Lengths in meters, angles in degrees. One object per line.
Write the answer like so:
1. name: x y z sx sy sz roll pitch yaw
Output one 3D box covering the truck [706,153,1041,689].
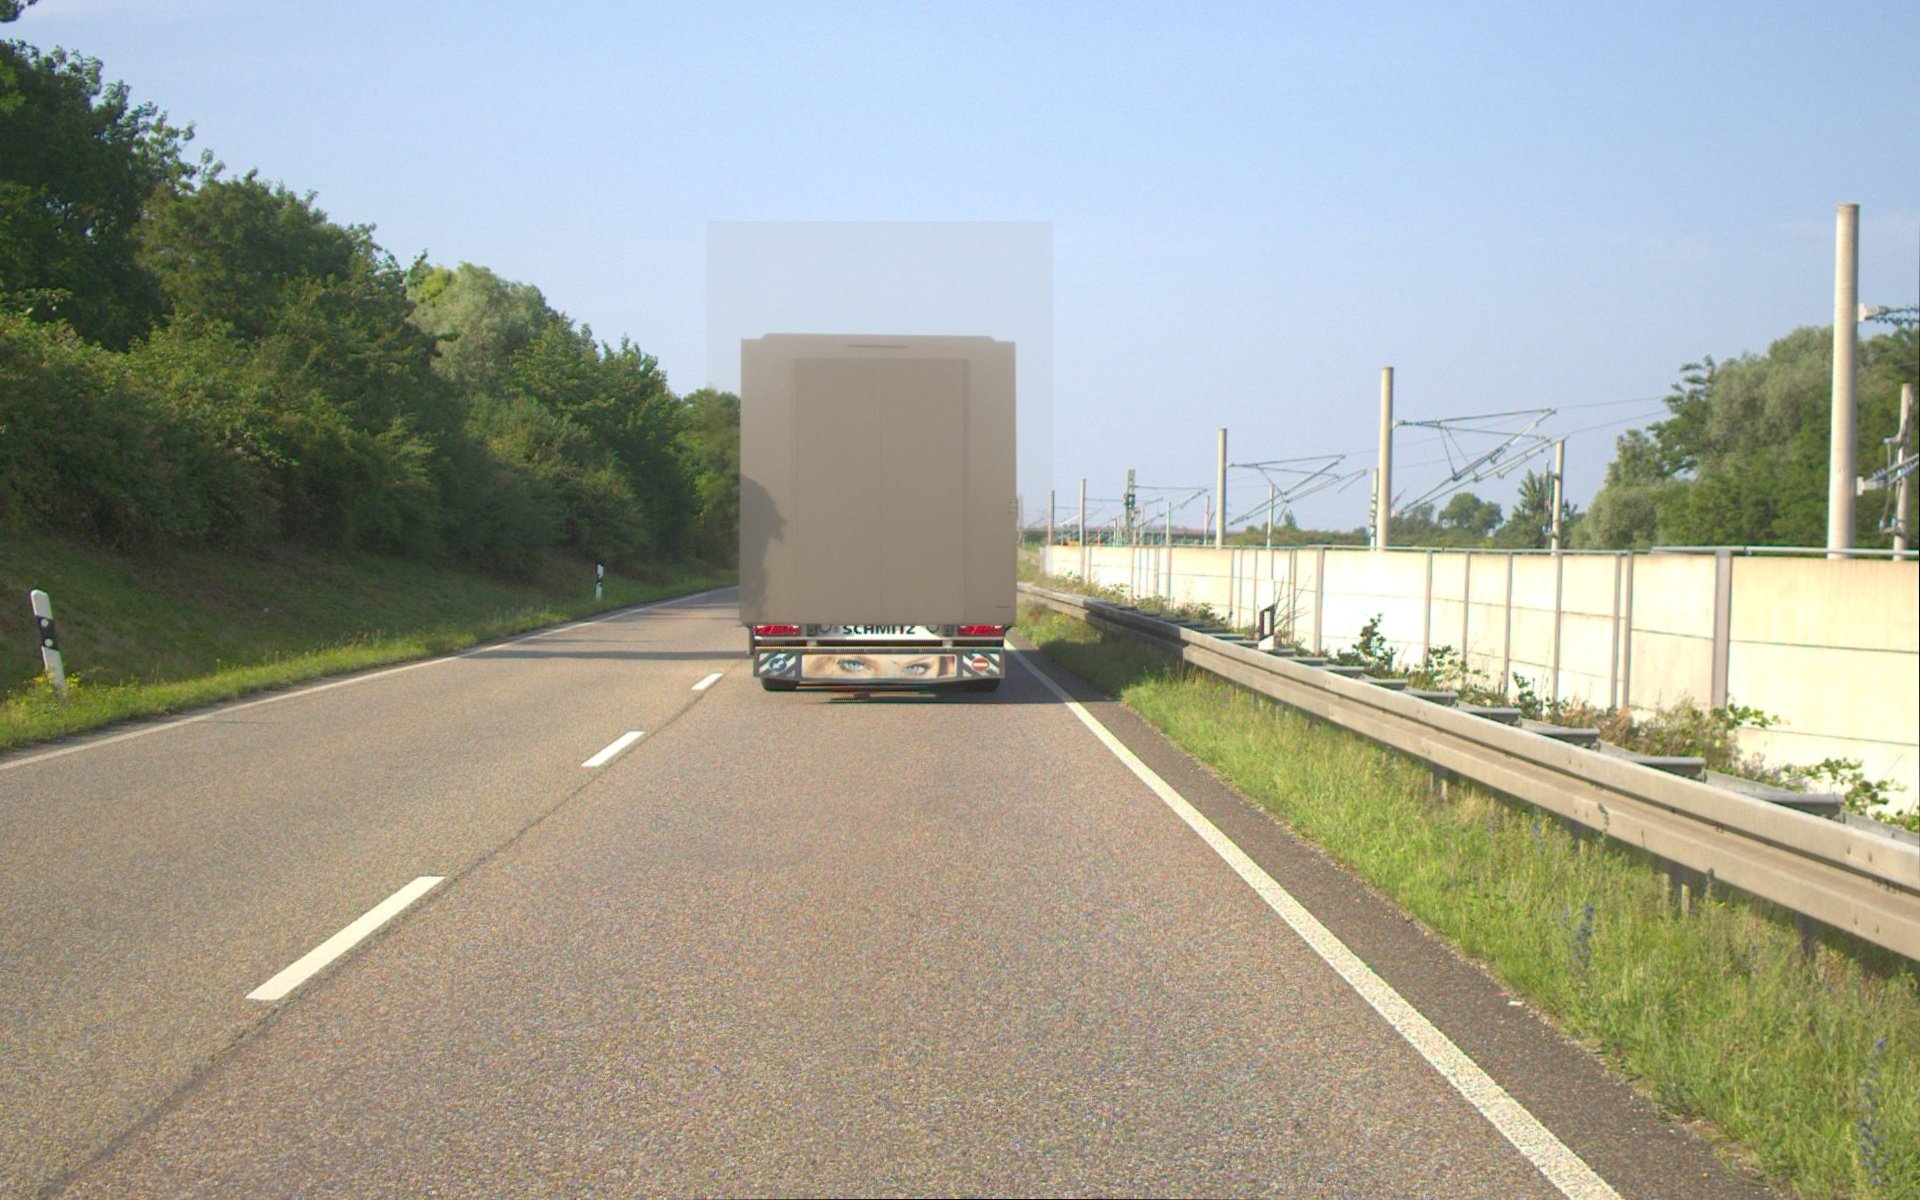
1. truck: -1.000 -1.757 37.557 3.033 4.903 11.685 1 1 -2
